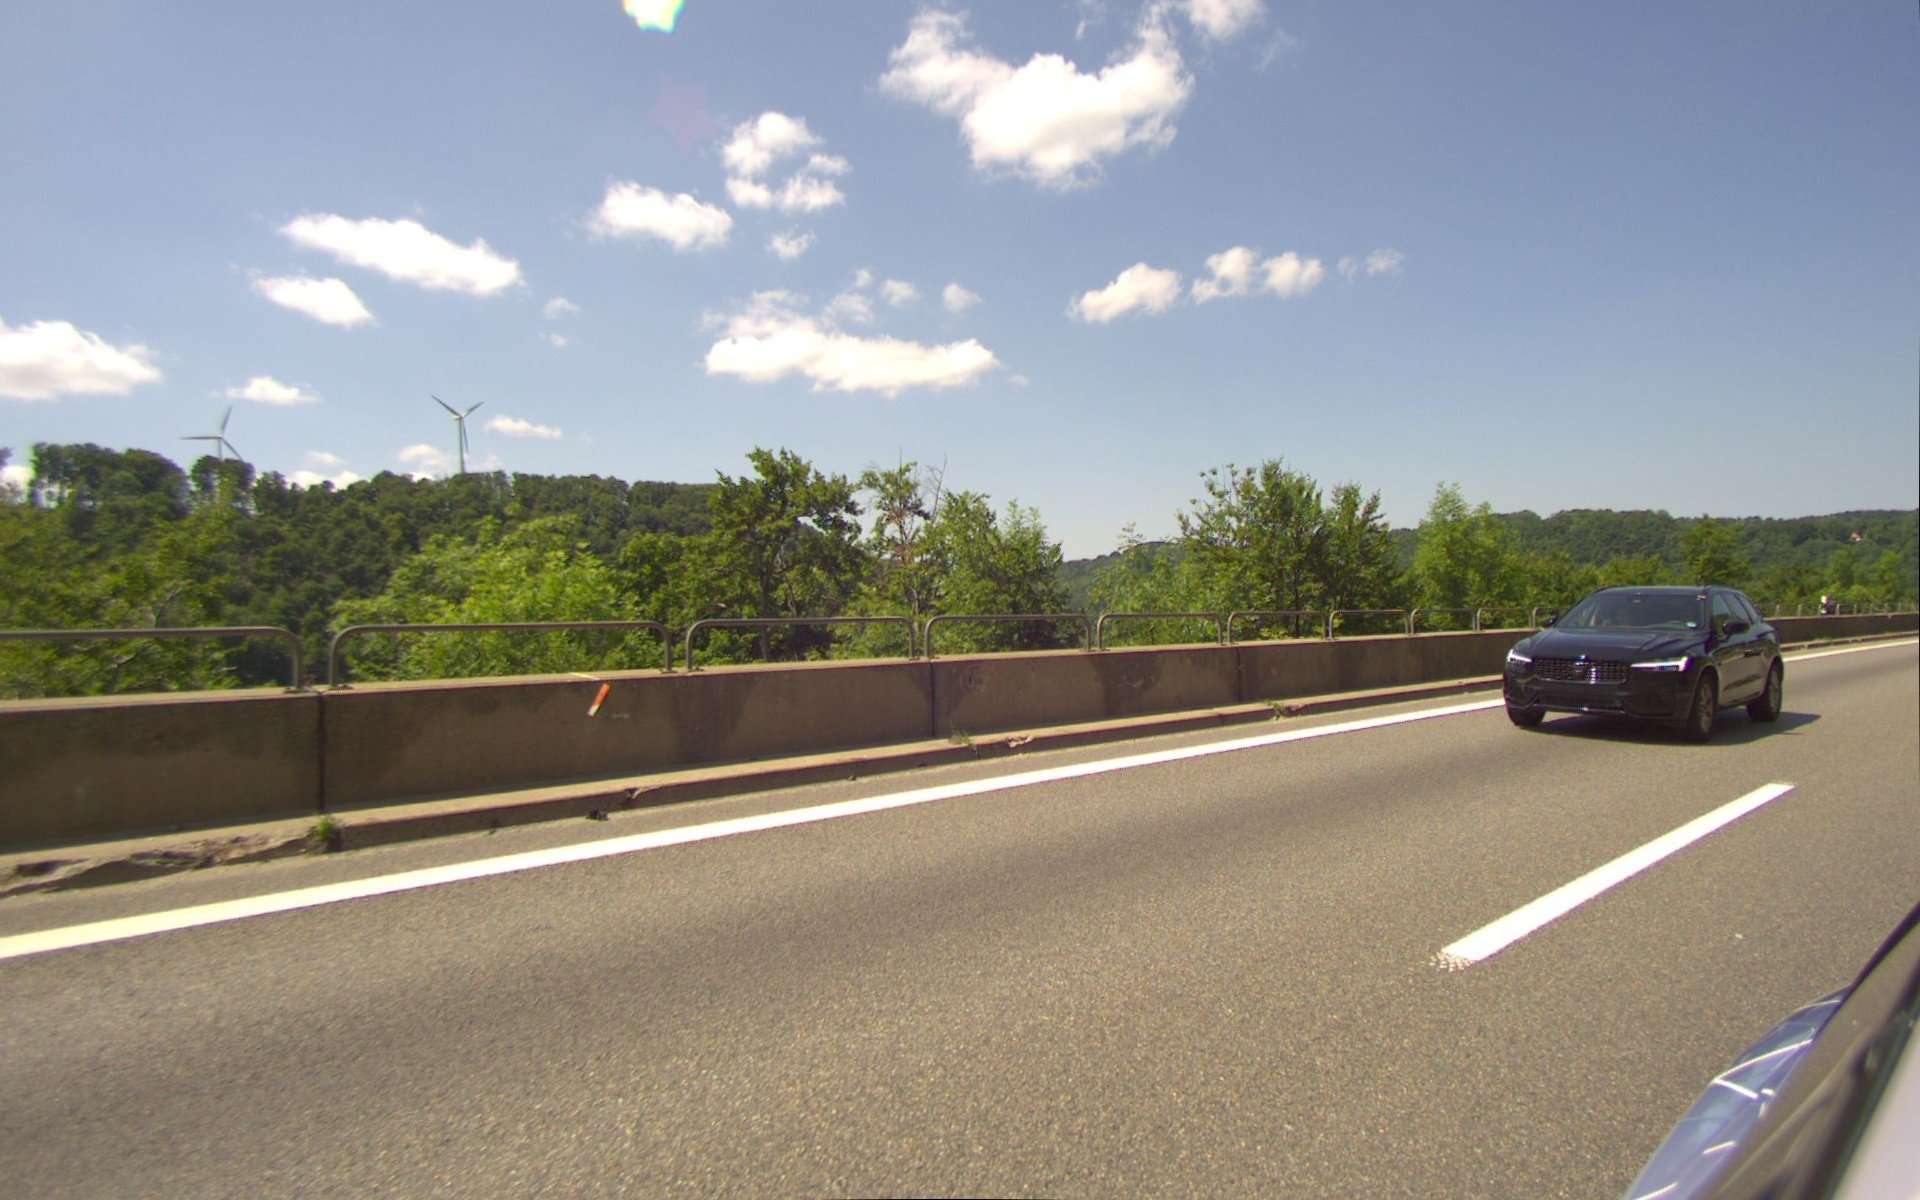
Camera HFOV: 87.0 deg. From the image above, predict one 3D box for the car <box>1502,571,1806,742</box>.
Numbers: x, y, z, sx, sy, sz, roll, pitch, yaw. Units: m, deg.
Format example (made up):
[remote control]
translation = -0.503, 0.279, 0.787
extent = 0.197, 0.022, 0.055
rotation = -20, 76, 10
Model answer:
[car]
translation = 8.346, 0.521, 12.004
extent = 4.580, 1.654, 1.838
rotation = 0, 1, -40
